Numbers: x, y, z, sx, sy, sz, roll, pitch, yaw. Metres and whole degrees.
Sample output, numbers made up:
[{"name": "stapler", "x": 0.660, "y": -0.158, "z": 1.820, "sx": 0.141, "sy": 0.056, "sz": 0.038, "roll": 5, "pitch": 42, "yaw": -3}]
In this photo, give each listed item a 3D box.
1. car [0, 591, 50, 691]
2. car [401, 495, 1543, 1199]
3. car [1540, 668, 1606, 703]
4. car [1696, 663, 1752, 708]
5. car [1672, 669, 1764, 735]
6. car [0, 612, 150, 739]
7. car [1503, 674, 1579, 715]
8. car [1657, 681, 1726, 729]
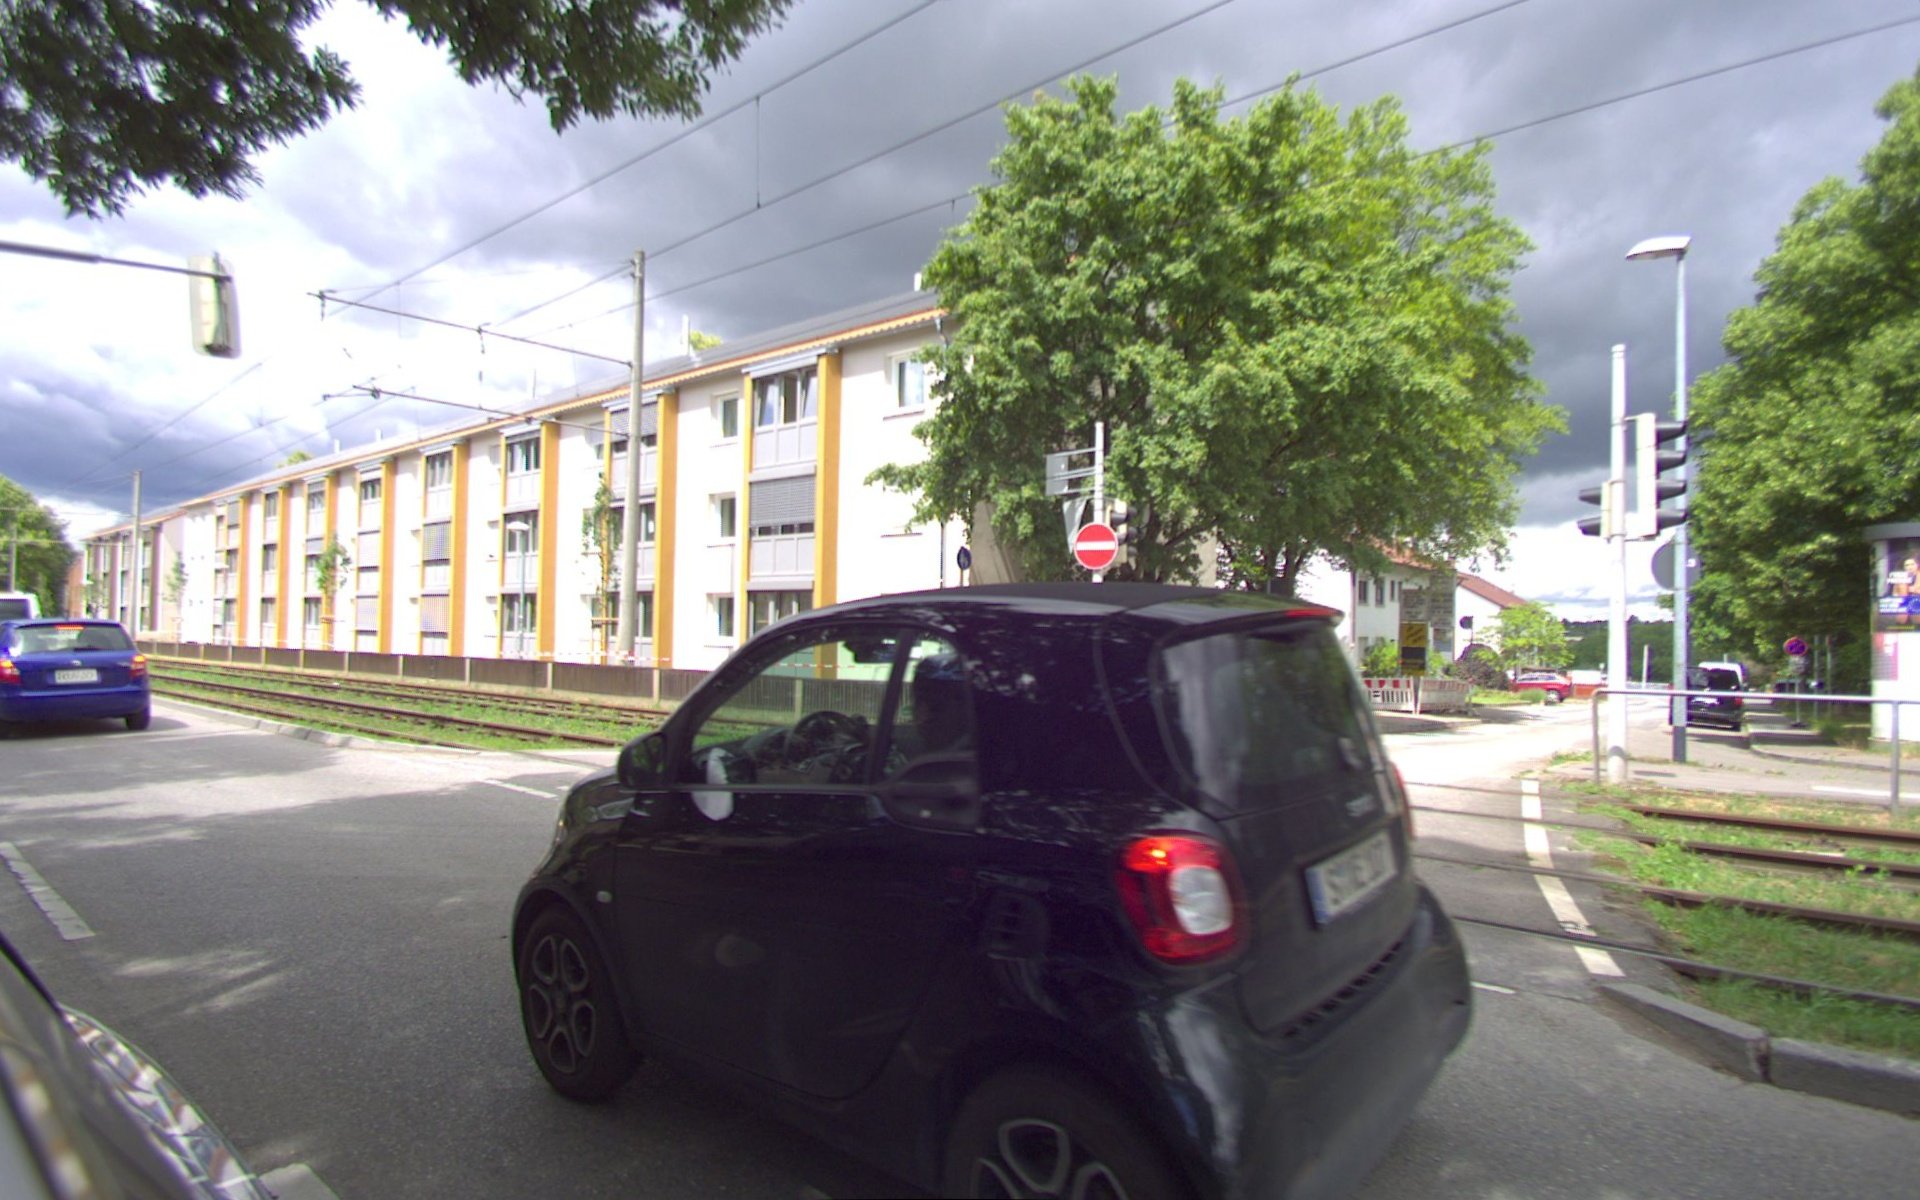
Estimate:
[{"name": "car", "x": -21.327, "y": 0.860, "z": 21.738, "sx": 4.782, "sy": 2.011, "sz": 1.974, "roll": -1, "pitch": -1, "yaw": 40}, {"name": "car", "x": -0.206, "y": 0.651, "z": 3.158, "sx": 3.272, "sy": 1.545, "sz": 1.620, "roll": -2, "pitch": -1, "yaw": 40}, {"name": "car", "x": 39.913, "y": 5.544, "z": 65.993, "sx": 3.611, "sy": 2.029, "sz": 1.944, "roll": 0, "pitch": 0, "yaw": 30}, {"name": "car", "x": 38.691, "y": 4.310, "z": 51.215, "sx": 1.999, "sy": 2.118, "sz": 3.944, "roll": 0, "pitch": -4, "yaw": 42}, {"name": "car", "x": 23.991, "y": 3.180, "z": 31.983, "sx": 1.999, "sy": 1.873, "sz": 3.944, "roll": 0, "pitch": -4, "yaw": 42}, {"name": "car", "x": -12.430, "y": 0.933, "z": 13.758, "sx": 3.804, "sy": 1.497, "sz": 1.565, "roll": -1, "pitch": -1, "yaw": 41}, {"name": "car", "x": 34.113, "y": 5.532, "z": 59.445, "sx": 3.623, "sy": 2.029, "sz": 1.938, "roll": 0, "pitch": 0, "yaw": 40}, {"name": "car", "x": 27.362, "y": 3.880, "z": 37.815, "sx": 1.852, "sy": 1.500, "sz": 3.947, "roll": 0, "pitch": -2, "yaw": 39}]
